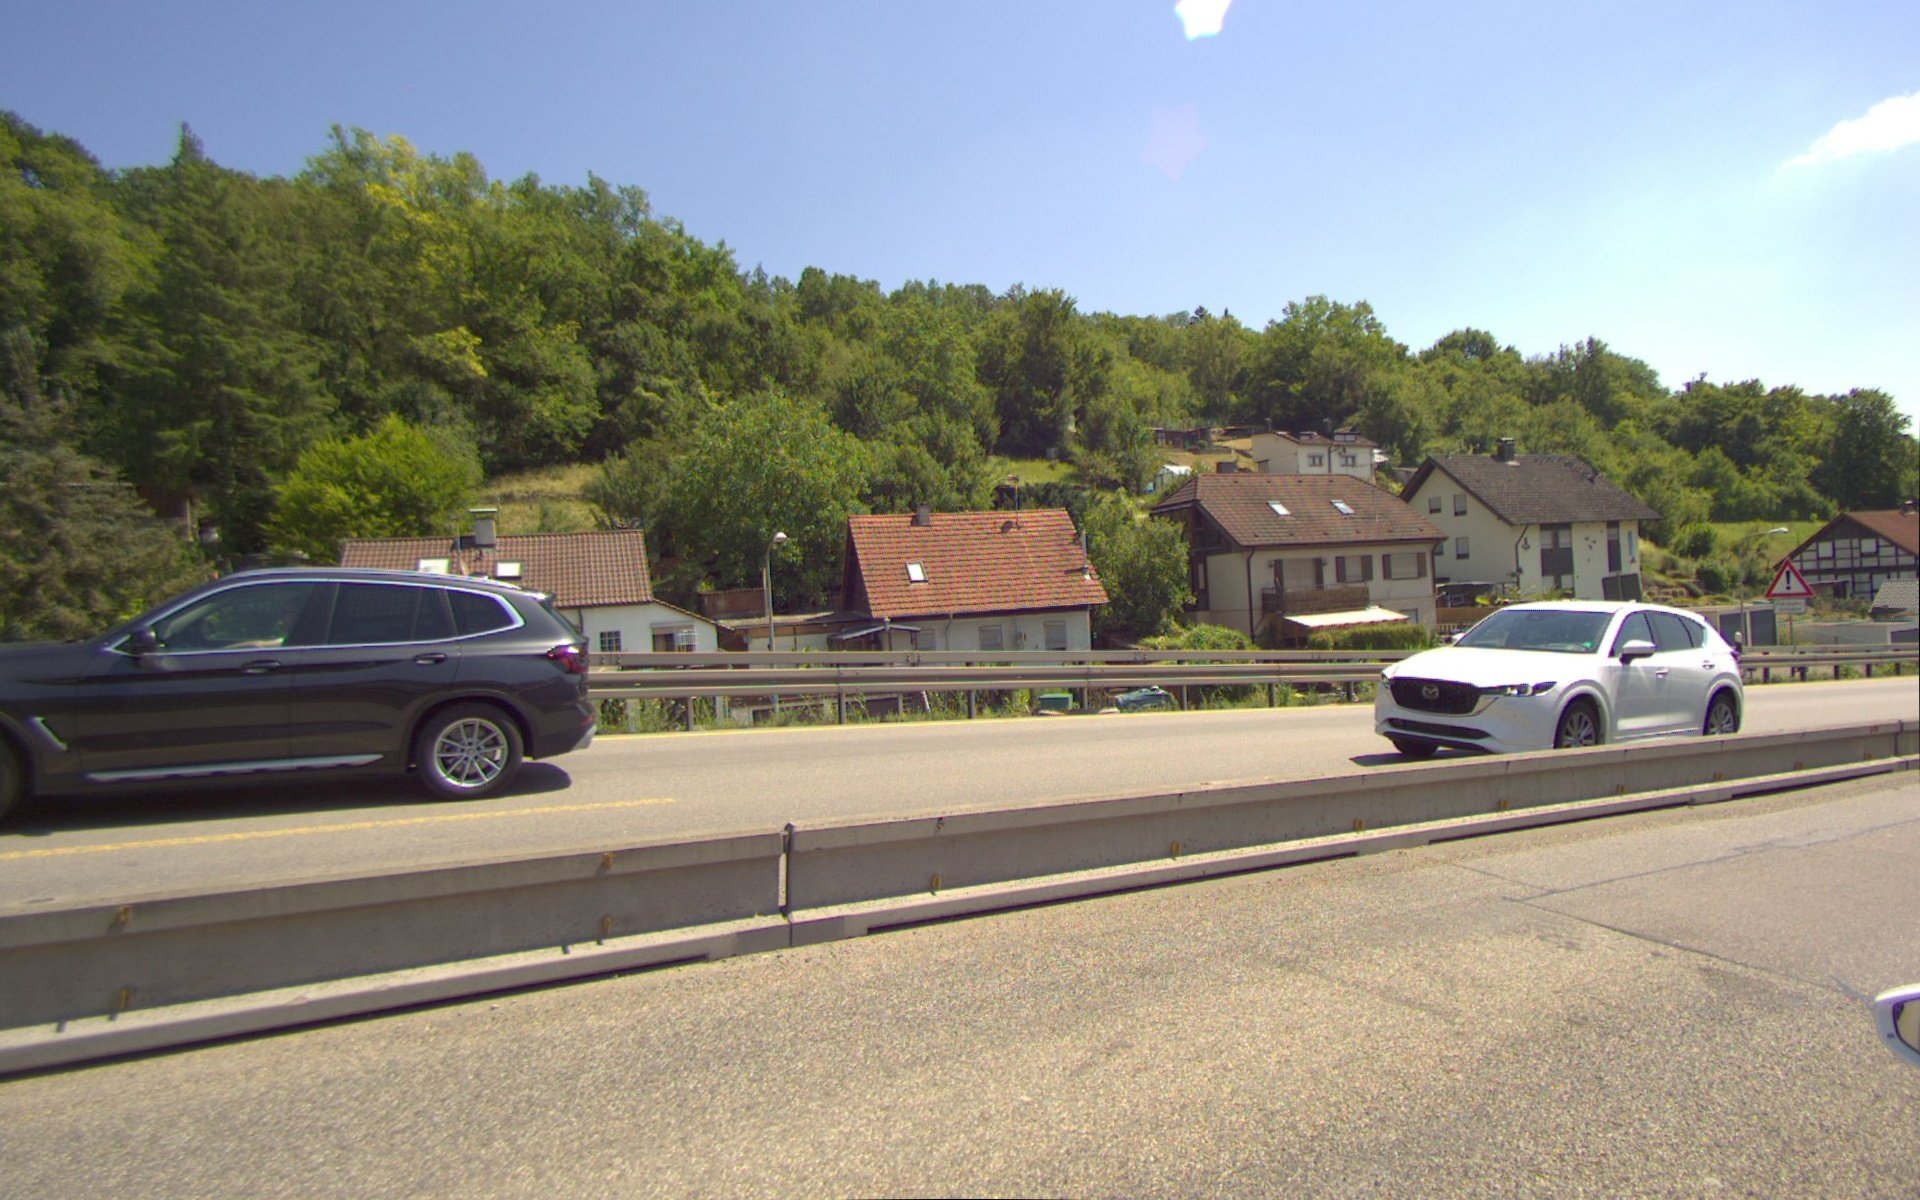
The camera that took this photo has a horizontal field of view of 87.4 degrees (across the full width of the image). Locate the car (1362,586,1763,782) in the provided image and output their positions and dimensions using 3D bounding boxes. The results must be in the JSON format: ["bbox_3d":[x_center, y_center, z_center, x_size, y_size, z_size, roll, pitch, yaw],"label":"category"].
[{"bbox_3d":[6.417,0.810,10.589,4.335,1.709,1.742,2,-1,-30],"label":"car"}]

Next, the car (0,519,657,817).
[{"bbox_3d":[-4.866,0.459,7.553,4.609,1.765,1.896,2,-1,-31],"label":"car"}]
